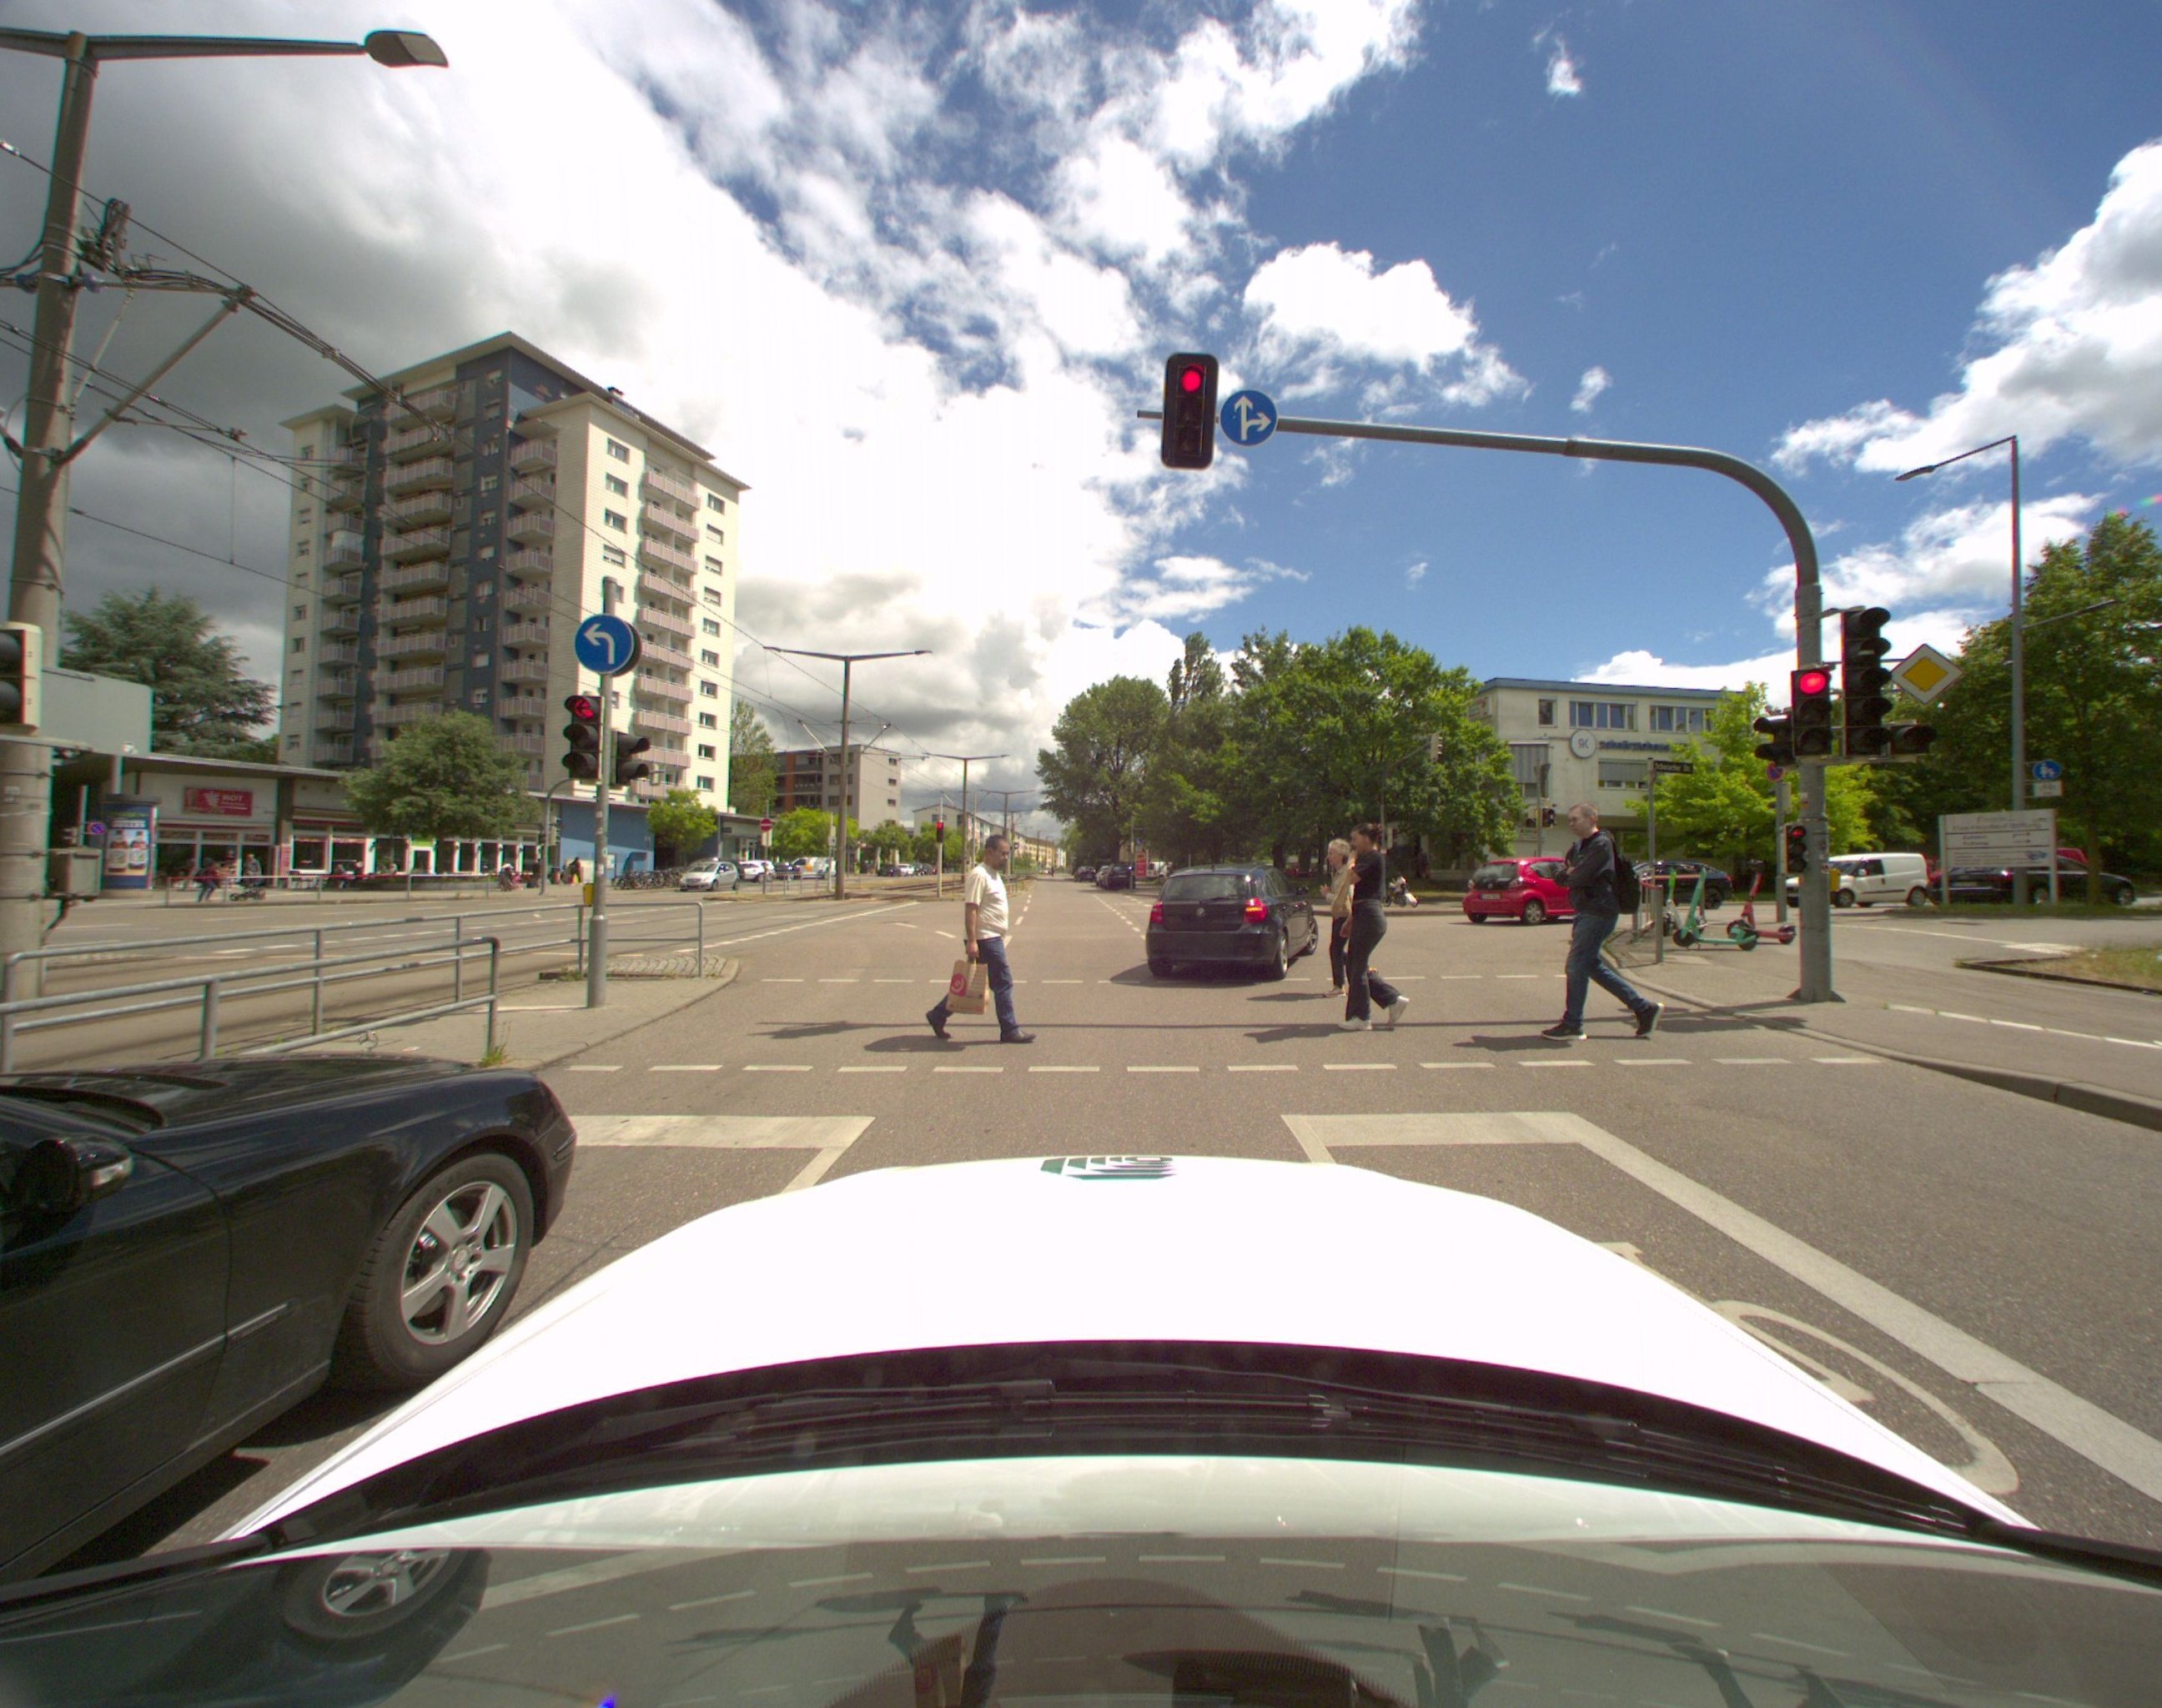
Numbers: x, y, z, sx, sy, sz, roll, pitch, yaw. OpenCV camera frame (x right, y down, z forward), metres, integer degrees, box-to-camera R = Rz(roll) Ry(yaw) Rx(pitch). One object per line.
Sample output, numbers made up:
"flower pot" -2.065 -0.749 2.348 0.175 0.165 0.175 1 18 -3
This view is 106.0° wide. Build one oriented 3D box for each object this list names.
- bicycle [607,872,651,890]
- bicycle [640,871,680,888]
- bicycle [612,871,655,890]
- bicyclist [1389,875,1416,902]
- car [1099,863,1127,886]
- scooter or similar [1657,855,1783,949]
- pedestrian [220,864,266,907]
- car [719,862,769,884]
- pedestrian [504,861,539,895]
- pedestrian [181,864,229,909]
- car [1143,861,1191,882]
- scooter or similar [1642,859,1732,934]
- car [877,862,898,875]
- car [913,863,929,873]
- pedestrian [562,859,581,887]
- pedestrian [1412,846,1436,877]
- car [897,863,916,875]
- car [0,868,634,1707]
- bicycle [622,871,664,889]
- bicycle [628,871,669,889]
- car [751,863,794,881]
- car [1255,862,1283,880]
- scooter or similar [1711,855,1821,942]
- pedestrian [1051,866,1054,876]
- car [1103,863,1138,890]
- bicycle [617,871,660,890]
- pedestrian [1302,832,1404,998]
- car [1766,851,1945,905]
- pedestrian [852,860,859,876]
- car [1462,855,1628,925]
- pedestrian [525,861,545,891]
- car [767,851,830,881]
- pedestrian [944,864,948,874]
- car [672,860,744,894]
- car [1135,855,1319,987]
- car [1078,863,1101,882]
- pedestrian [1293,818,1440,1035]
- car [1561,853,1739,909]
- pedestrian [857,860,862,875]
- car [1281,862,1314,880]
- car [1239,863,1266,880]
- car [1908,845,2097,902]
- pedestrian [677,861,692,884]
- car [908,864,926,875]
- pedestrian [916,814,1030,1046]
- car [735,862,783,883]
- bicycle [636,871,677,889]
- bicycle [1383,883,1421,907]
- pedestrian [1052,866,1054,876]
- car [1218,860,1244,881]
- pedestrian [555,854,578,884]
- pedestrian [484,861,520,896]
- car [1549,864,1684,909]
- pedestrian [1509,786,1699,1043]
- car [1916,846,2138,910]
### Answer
"bicycle" -23.371 1.389 42.135 1.943 0.935 0.494 0 -1 -5
"bicycle" -23.367 1.419 45.229 1.943 0.935 0.494 0 -1 -5
"bicycle" -23.400 1.394 42.602 1.943 0.935 0.494 0 -1 -5
"bicyclist" 12.141 1.300 30.810 0.788 1.022 0.636 0 -1 1
"car" 2.349 1.522 60.152 1.986 1.684 4.001 0 -1 2
"scooter or similar" 8.881 0.652 11.346 1.336 1.277 0.463 0 0 8
"pedestrian" -32.710 1.222 31.804 0.957 1.659 1.002 -1 -1 27
"car" -24.617 1.362 59.442 4.165 1.570 1.973 -1 -1 45
"pedestrian" -28.399 1.218 41.319 0.938 1.659 1.103 -1 -1 12
"pedestrian" -33.132 1.215 30.822 0.957 1.659 1.002 -1 -1 27
"car" 7.782 1.591 74.107 4.001 1.823 1.766 0 -1 -21
"scooter or similar" 9.782 0.672 13.135 1.360 1.156 0.540 1 0 -23
"car" -21.988 1.632 92.488 1.758 1.395 3.993 0 0 -5
"car" -21.806 1.916 111.158 1.758 1.395 3.993 0 0 -5
"pedestrian" -29.745 1.115 47.546 0.767 1.615 0.695 0 -1 -12
"pedestrian" 18.111 0.399 43.030 0.769 1.643 0.903 0 -1 -14
"car" -21.422 1.878 100.015 1.758 1.395 3.993 0 0 -5
"car" -2.758 0.779 1.056 1.721 1.461 4.546 0 0 2
"bicycle" -23.449 1.404 43.584 1.943 0.935 0.494 0 -1 -5
"bicycle" -23.436 1.409 44.130 1.943 0.935 0.494 0 -1 -5
"car" -25.002 1.458 65.934 1.800 1.420 4.166 0 -1 -43
"car" 17.756 1.581 77.152 1.626 1.595 3.998 0 0 -1
"scooter or similar" 10.267 0.661 12.223 1.225 1.240 0.555 2 0 -7
"pedestrian" -4.545 2.696 131.840 0.477 1.637 0.454 0 -1 1
"car" 2.509 1.419 52.697 2.144 1.684 4.001 0 -1 2
"bicycle" -23.425 1.399 43.108 1.943 0.935 0.494 0 -1 -5
"pedestrian" 2.904 0.629 8.757 0.945 1.674 0.874 -1 -1 16
"car" 26.139 0.784 27.571 4.555 1.717 1.995 0 0 -8
"pedestrian" -23.899 1.506 86.322 0.547 1.716 0.667 0 -1 -8
"car" 10.279 0.735 18.072 3.197 1.441 1.536 0 0 -21
"pedestrian" -30.215 1.198 45.078 0.770 1.615 0.692 0 -1 -25
"car" -24.671 1.037 71.013 2.848 2.478 6.641 0 -1 -42
"pedestrian" -21.631 2.449 130.476 0.451 1.637 0.480 0 -1 -1
"car" -19.788 1.180 43.382 1.930 1.693 3.874 0 0 2
"car" 2.217 0.765 11.401 1.737 1.487 4.021 0 0 22
"car" 0.829 1.658 75.583 1.986 1.684 4.002 0 0 2
"pedestrian" 2.473 0.586 7.128 0.933 1.765 0.769 -1 0 -10
"car" 18.400 0.856 26.465 4.551 1.717 1.996 0 0 -5
"pedestrian" -25.001 1.491 92.029 0.547 1.716 0.404 0 -1 -8
"car" 20.583 1.595 77.497 1.728 1.595 3.992 0 0 -5
"car" 15.947 1.627 75.929 1.626 1.573 4.030 0 0 -1
"car" 31.871 0.679 28.242 4.800 1.864 1.994 0 -2 -8
"pedestrian" -28.300 1.298 58.135 0.768 1.615 0.695 0 -1 -14
"car" -21.443 1.973 106.485 1.758 1.395 3.993 0 0 -5
"pedestrian" -0.865 0.592 6.752 0.866 1.808 0.741 0 0 -2
"car" -24.839 1.394 62.748 4.165 1.538 1.973 -1 -1 45
"bicycle" -23.332 1.414 44.739 1.943 0.935 0.494 0 -1 -5
"bicycle" 12.151 1.544 30.880 0.788 0.819 1.808 0 0 1
"pedestrian" -4.505 2.810 131.916 0.334 1.627 0.356 0 -1 -16
"car" 13.825 1.492 75.116 1.626 1.811 4.030 0 0 -1
"pedestrian" -33.830 0.987 53.584 0.864 1.917 1.211 0 0 -8
"pedestrian" -28.469 1.206 40.078 0.938 1.659 1.103 -1 -1 12
"car" 19.847 1.171 30.272 3.906 1.555 1.994 0 0 -9
"pedestrian" 4.207 0.455 6.627 0.963 1.942 0.896 0 0 -3
"car" 25.094 0.607 21.661 4.511 1.554 1.991 0 -1 -13
